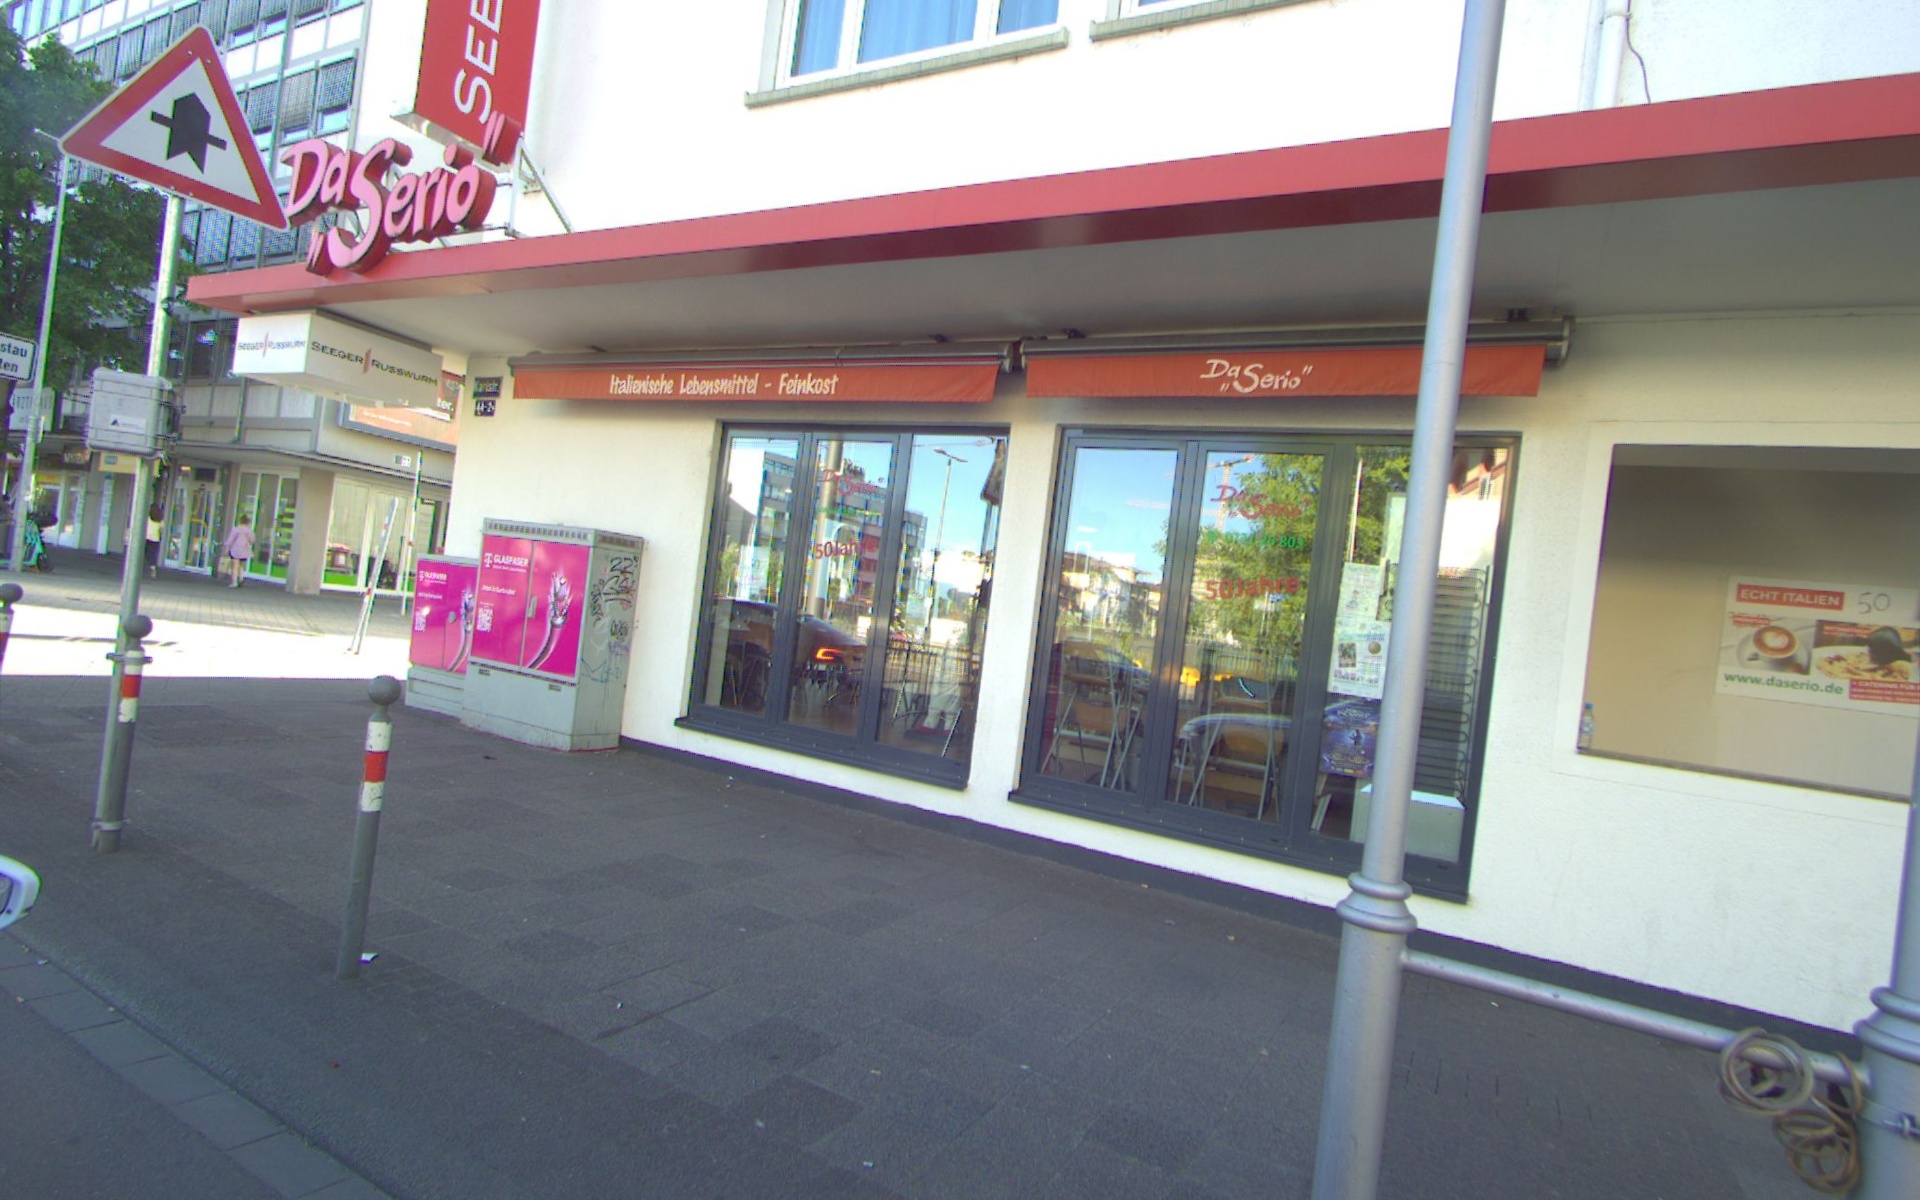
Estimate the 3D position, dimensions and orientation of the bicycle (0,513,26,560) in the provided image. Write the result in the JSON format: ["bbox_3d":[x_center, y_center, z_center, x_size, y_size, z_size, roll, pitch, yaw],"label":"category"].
[{"bbox_3d":[-23.211,-1.563,23.614,0.392,1.069,1.856,7,0,21],"label":"bicycle"}]

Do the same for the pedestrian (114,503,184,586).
[{"bbox_3d":[-18.487,-1.270,22.941,0.865,1.727,0.844,6,-1,31],"label":"pedestrian"}]

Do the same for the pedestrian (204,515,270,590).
[{"bbox_3d":[-17.048,-1.119,23.717,0.865,1.621,0.844,6,-1,31],"label":"pedestrian"}]

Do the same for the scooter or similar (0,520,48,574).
[{"bbox_3d":[-20.010,-1.134,21.290,0.157,1.039,0.964,7,-1,34],"label":"scooter or similar"}]

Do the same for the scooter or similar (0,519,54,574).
[{"bbox_3d":[-19.684,-1.122,21.070,0.157,1.056,0.964,7,-1,34],"label":"scooter or similar"}]

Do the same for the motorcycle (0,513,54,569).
[{"bbox_3d":[-21.509,-1.386,22.432,0.495,1.142,1.791,7,-2,29],"label":"motorcycle"}]

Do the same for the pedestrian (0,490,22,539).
[{"bbox_3d":[-29.897,-2.697,31.472,0.612,1.438,0.644,6,-1,42],"label":"pedestrian"}]

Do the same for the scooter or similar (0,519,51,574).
[{"bbox_3d":[-19.846,-1.127,21.180,0.157,1.051,0.957,7,-1,34],"label":"scooter or similar"}]
